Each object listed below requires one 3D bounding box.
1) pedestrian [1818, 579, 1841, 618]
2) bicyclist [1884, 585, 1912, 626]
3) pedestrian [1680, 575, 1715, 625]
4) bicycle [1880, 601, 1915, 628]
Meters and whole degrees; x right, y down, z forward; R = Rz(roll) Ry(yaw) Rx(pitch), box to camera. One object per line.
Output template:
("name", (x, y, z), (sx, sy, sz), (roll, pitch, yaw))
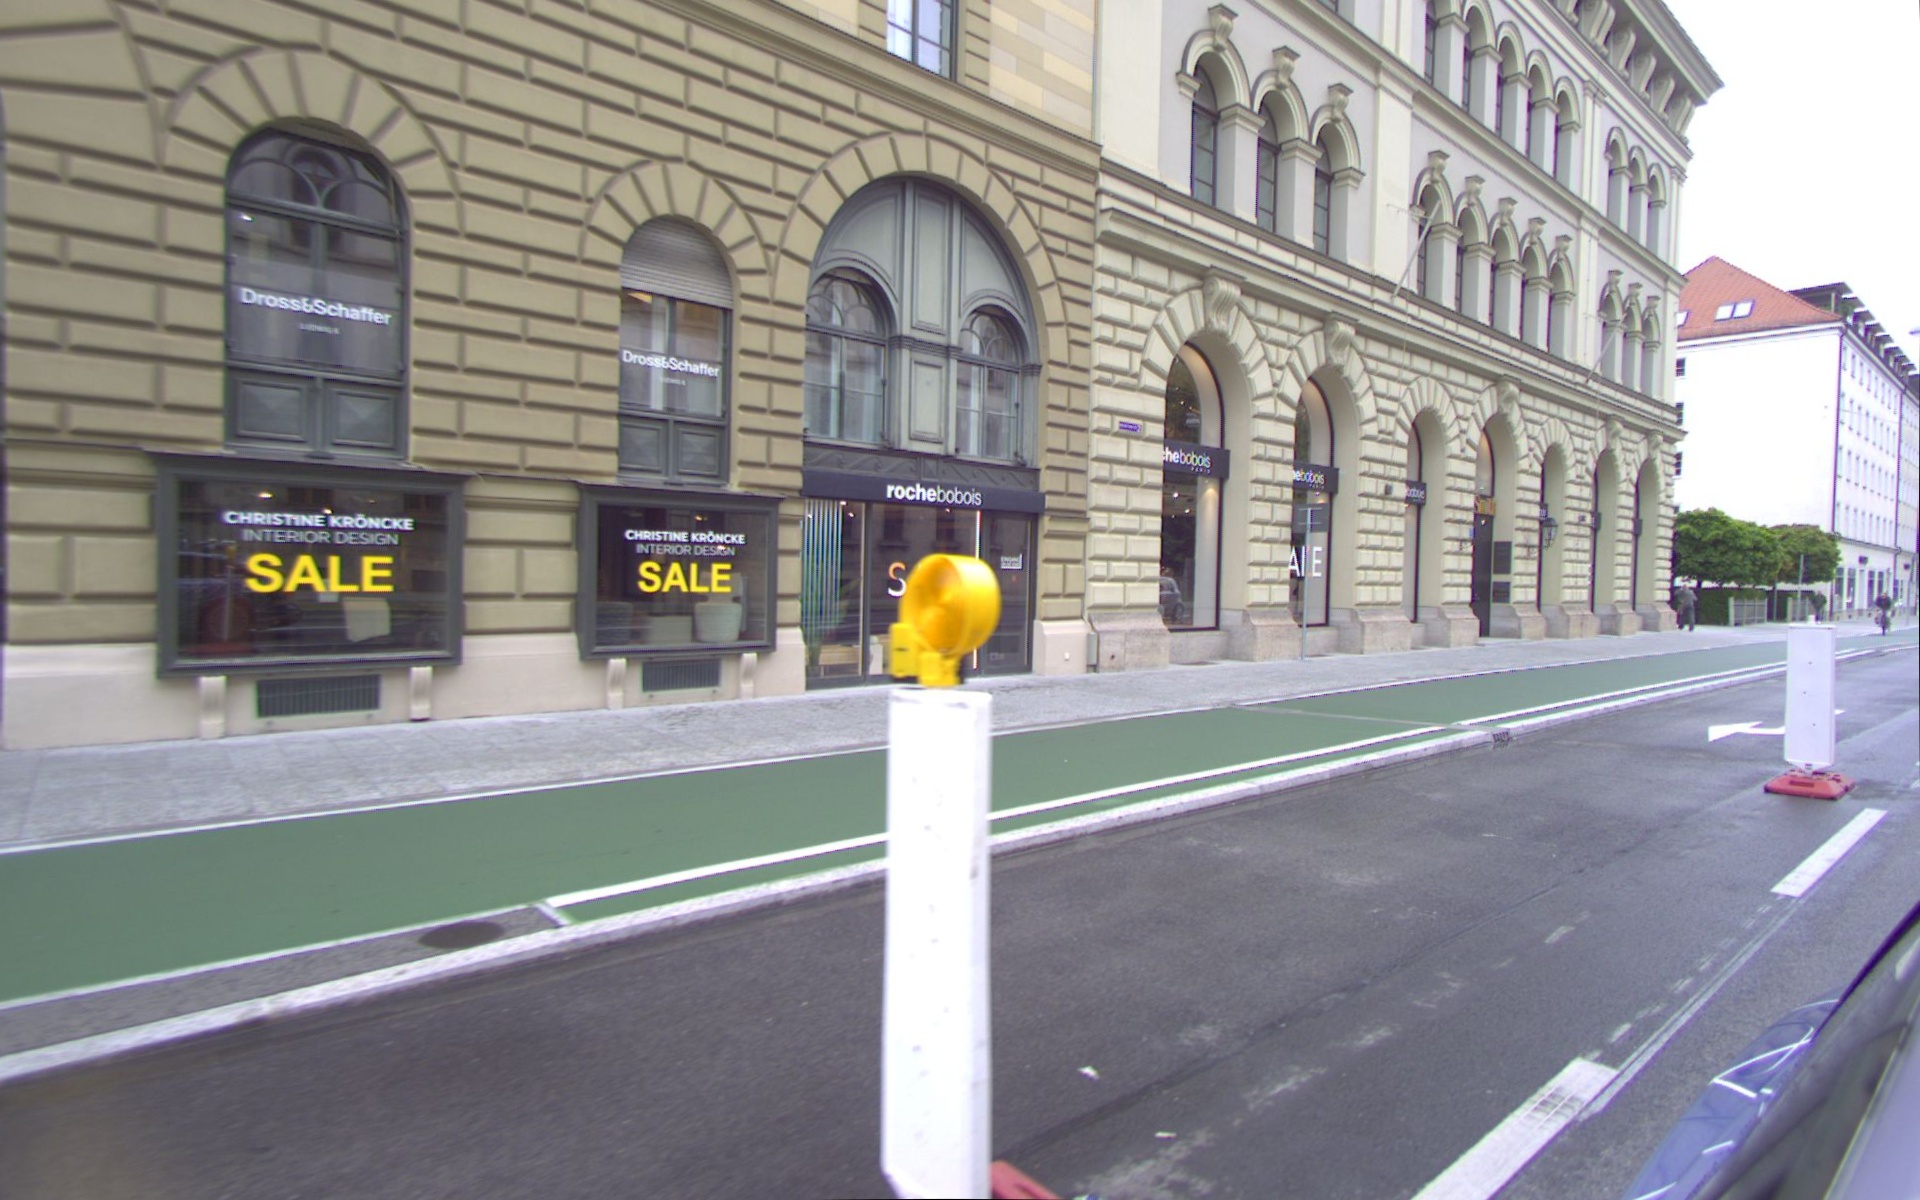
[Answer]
("pedestrian", (43.702, -0.092, 50.856), (0.811, 1.897, 0.655), (0, 3, -41))
("bicyclist", (37.151, 0.215, 40.099), (0.843, 1.572, 0.723), (0, 0, -41))
("pedestrian", (26.278, -0.008, 36.071), (0.626, 1.725, 1.079), (2, 2, 19))
("bicycle", (37.231, 0.568, 40.173), (2.487, 1.045, 0.750), (0, 1, -41))
